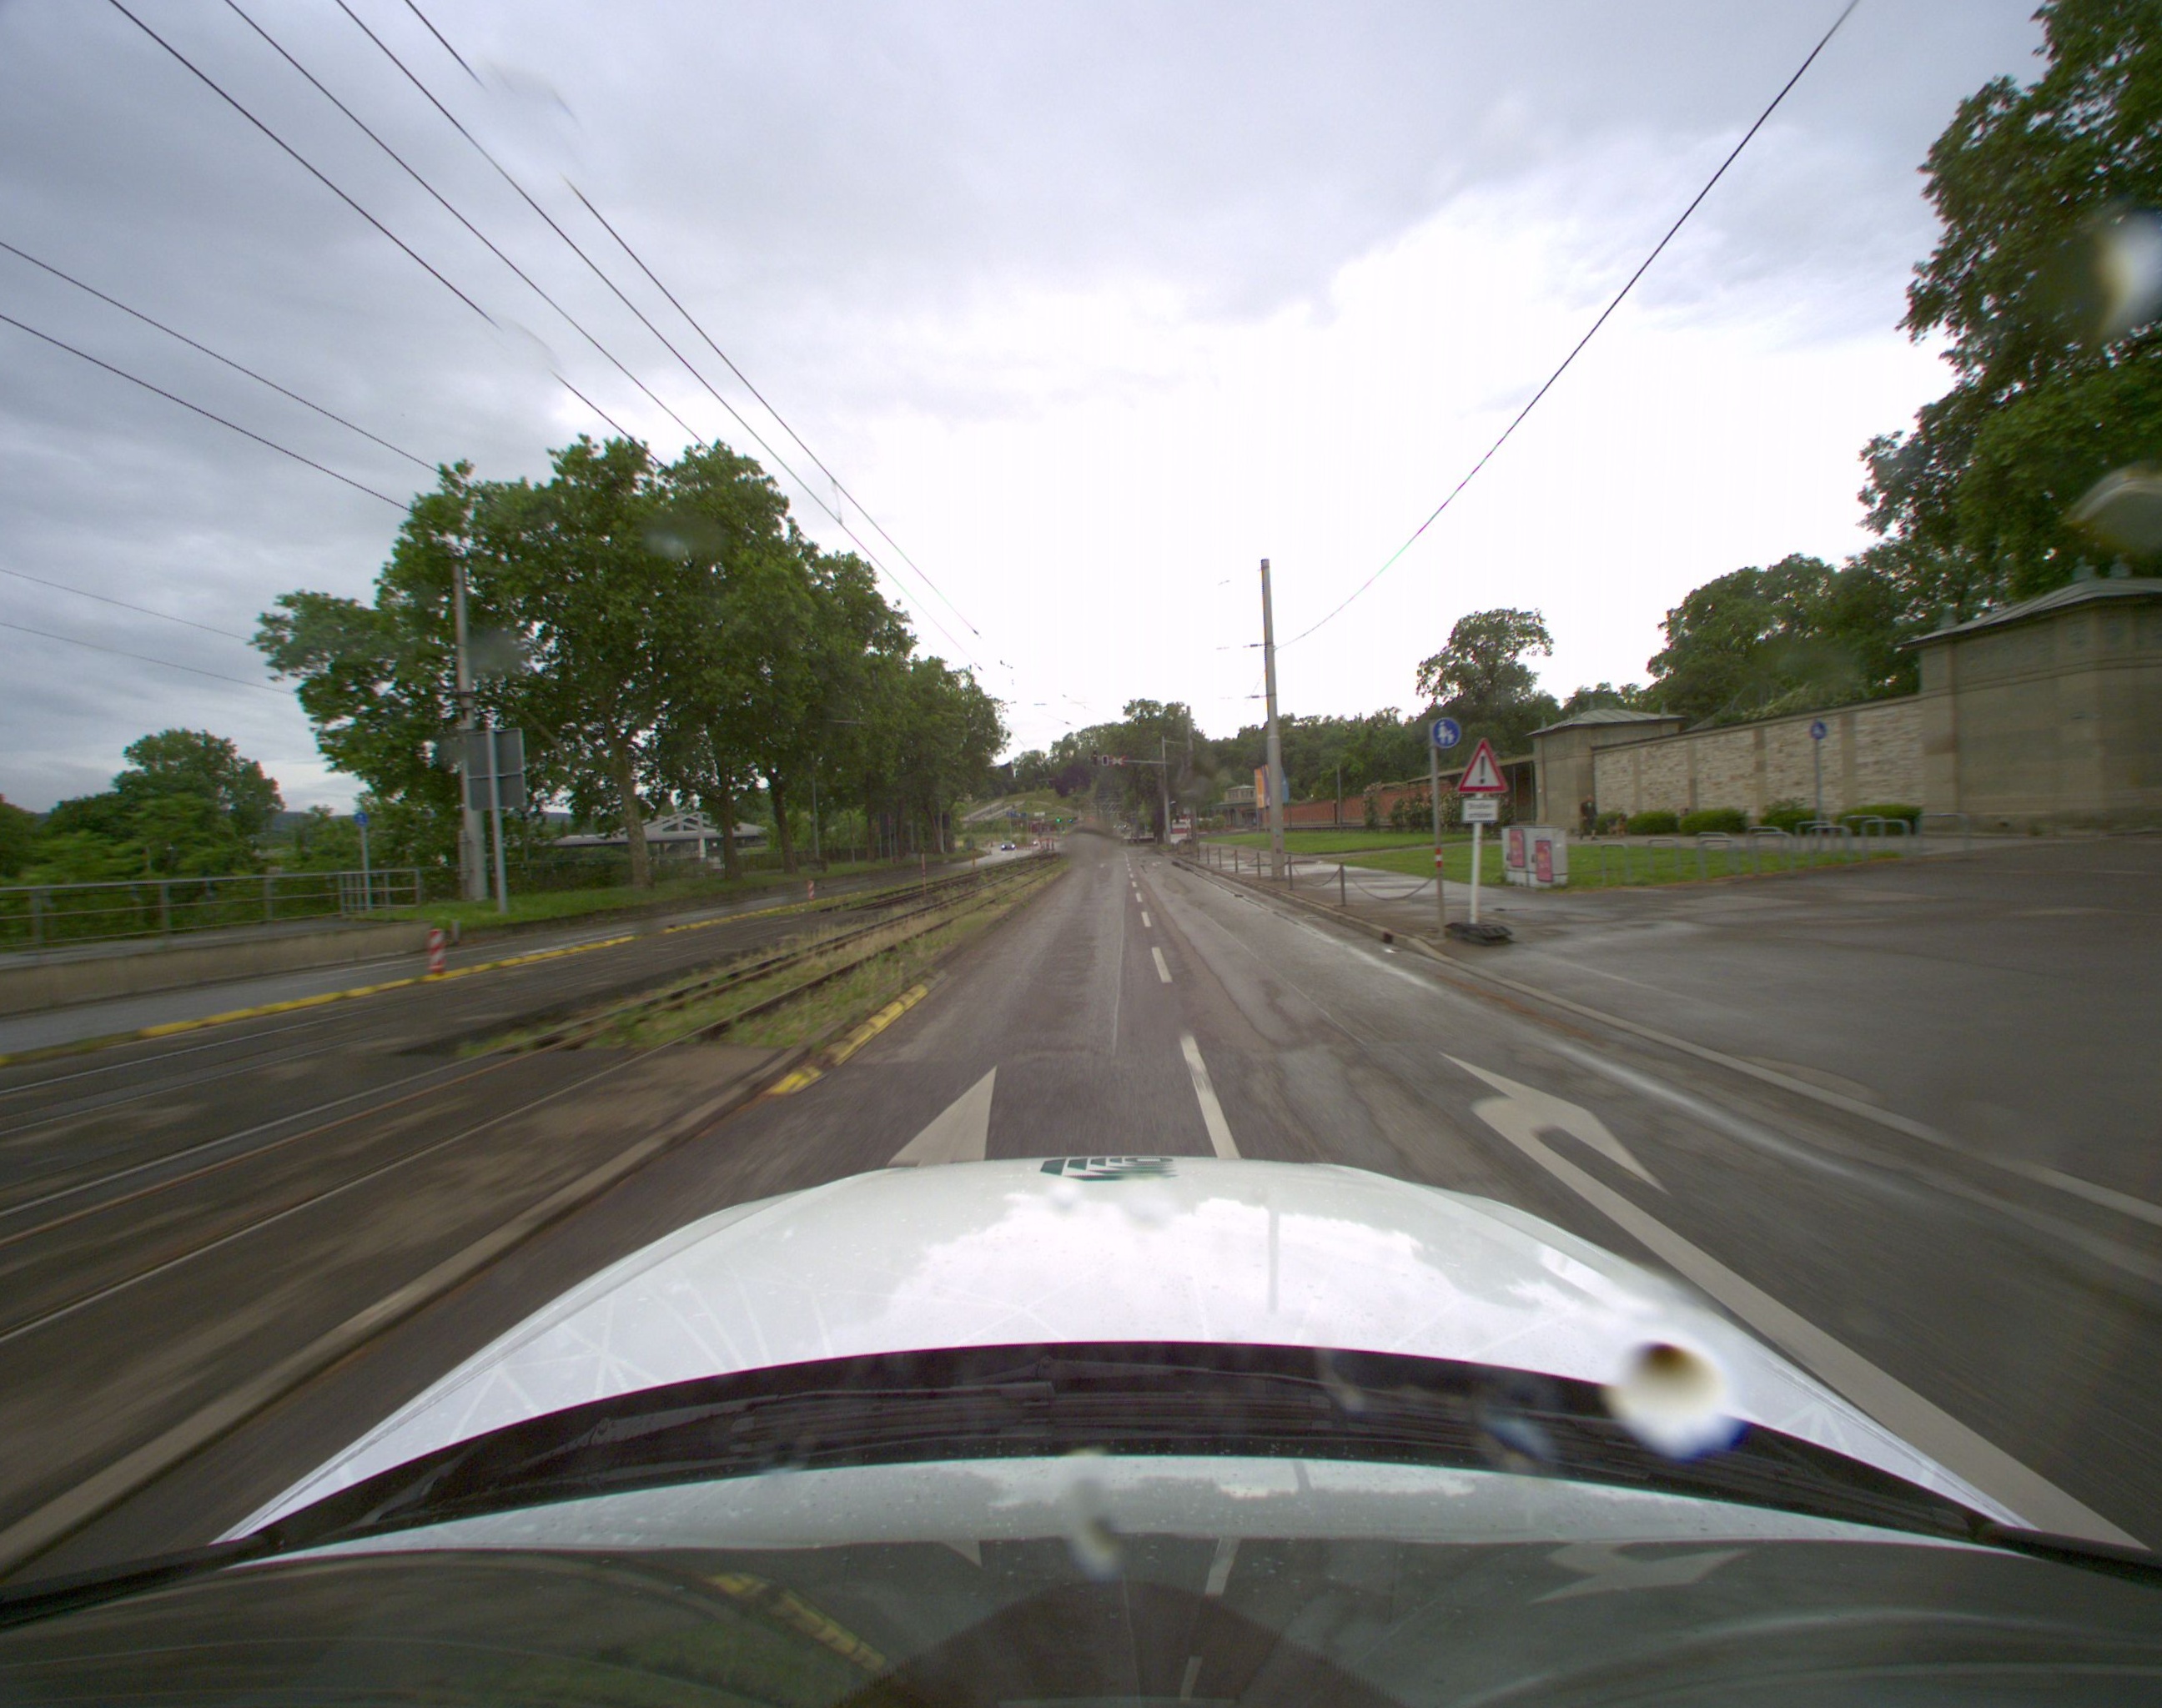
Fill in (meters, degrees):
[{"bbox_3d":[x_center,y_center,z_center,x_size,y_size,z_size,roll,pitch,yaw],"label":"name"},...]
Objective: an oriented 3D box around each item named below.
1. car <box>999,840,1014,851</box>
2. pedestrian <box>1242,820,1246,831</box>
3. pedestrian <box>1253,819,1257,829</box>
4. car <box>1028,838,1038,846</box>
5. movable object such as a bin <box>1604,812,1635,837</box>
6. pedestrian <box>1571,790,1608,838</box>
[{"bbox_3d":[-11.026,-1.282,120.449,1.747,1.429,4.544,-5,1,-10],"label":"car"},{"bbox_3d":[27.504,-4.799,137.236,0.527,1.710,0.698,-1,0,14],"label":"pedestrian"},{"bbox_3d":[29.059,-4.959,136.027,0.544,1.656,0.472,-2,0,37],"label":"pedestrian"},{"bbox_3d":[-10.463,-2.662,178.360,1.702,1.498,4.722,-4,1,2],"label":"car"},{"bbox_3d":[19.458,-1.052,29.458,0.340,0.872,1.193,-4,1,3],"label":"movable object such as a bin"},{"bbox_3d":[18.879,-1.468,30.247,0.725,1.710,0.982,-4,1,3],"label":"pedestrian"}]
